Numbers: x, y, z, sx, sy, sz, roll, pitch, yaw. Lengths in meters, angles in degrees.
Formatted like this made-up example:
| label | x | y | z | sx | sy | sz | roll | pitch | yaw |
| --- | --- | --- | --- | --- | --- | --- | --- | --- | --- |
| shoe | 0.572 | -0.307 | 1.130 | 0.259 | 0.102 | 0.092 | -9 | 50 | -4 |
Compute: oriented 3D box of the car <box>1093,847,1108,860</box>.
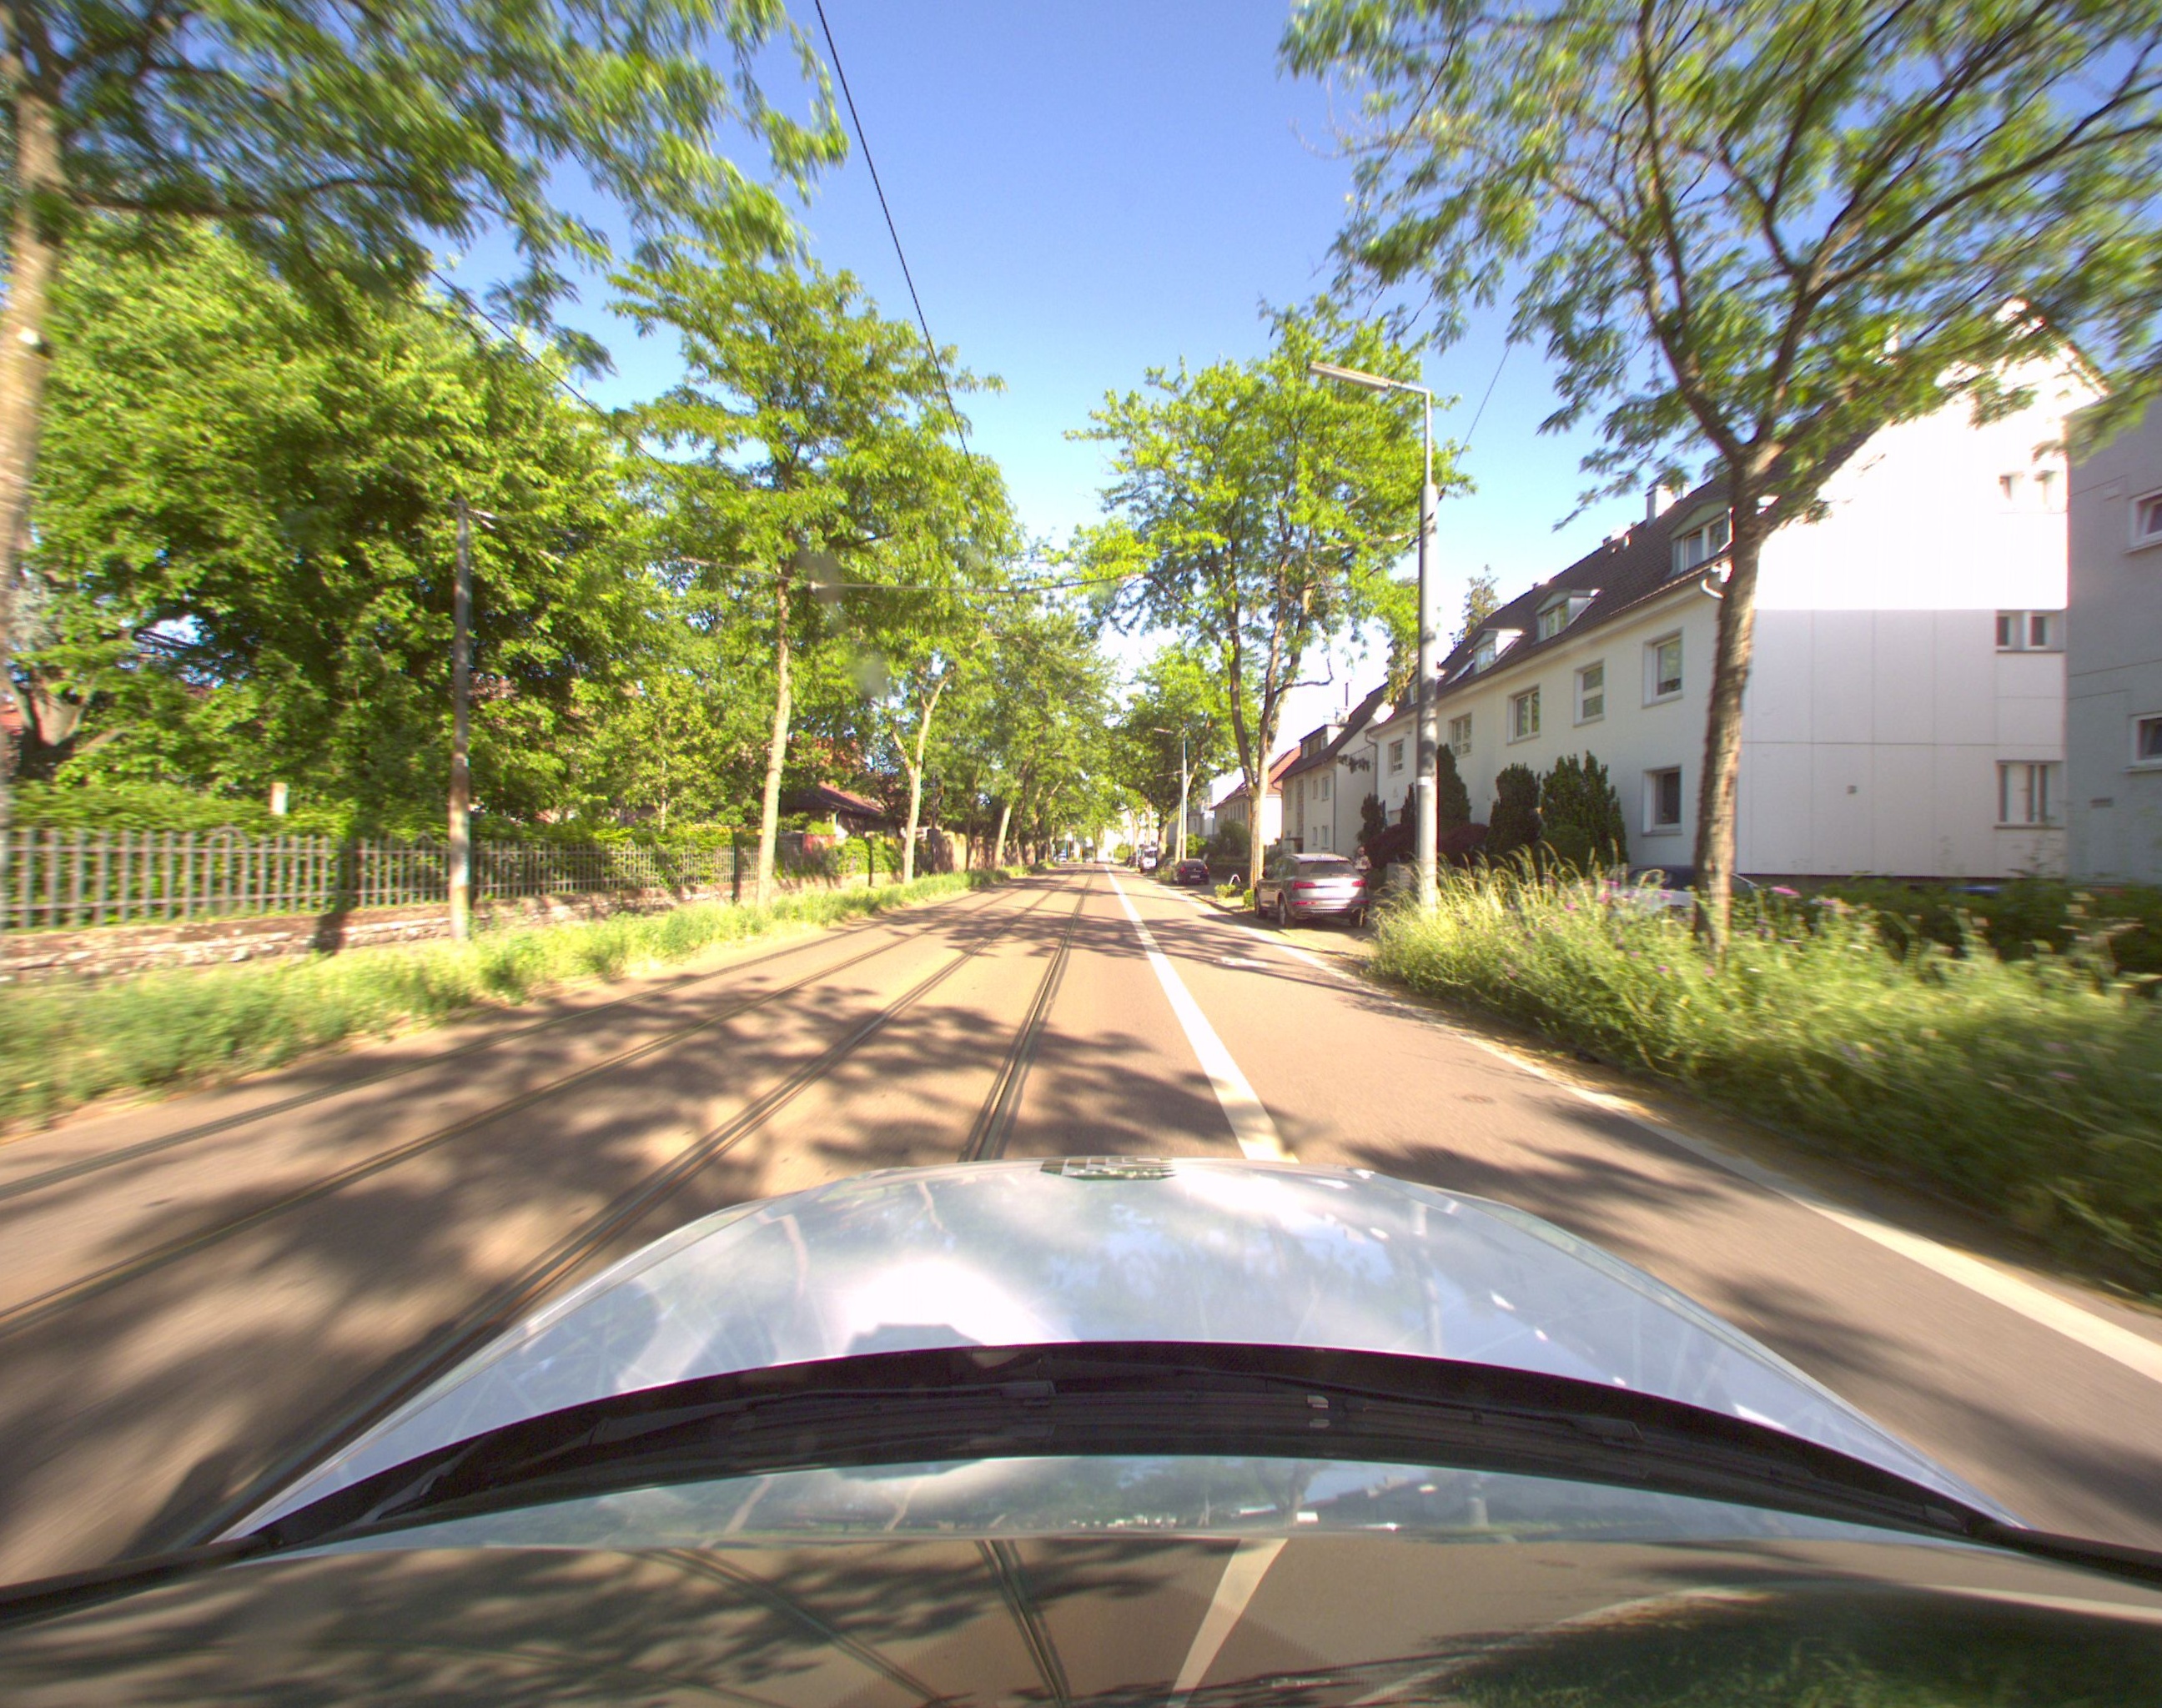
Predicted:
| label | x | y | z | sx | sy | sz | roll | pitch | yaw |
| --- | --- | --- | --- | --- | --- | --- | --- | --- | --- |
| car | 3.896 | -0.059 | 162.800 | 1.995 | 2.458 | 4.491 | 0 | 0 | -12 |

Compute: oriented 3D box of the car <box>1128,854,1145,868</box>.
| label | x | y | z | sx | sy | sz | roll | pitch | yaw |
| --- | --- | --- | --- | --- | --- | --- | --- | --- | --- |
| car | 7.388 | 0.926 | 109.332 | 1.996 | 1.675 | 4.393 | -1 | 0 | 1 |

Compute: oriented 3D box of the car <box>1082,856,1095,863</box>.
| label | x | y | z | sx | sy | sz | roll | pitch | yaw |
| --- | --- | --- | --- | --- | --- | --- | --- | --- | --- |
| car | 1.641 | 1.258 | 180.583 | 2.004 | 1.560 | 4.375 | 0 | 0 | -11 |

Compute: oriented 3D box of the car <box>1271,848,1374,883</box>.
| label | x | y | z | sx | sy | sz | roll | pitch | yaw |
| --- | --- | --- | --- | --- | --- | --- | --- | --- | --- |
| car | 11.590 | 0.528 | 39.300 | 4.402 | 1.489 | 1.860 | -2 | 0 | 3 |

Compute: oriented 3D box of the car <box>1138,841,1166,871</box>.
| label | x | y | z | sx | sy | sz | roll | pitch | yaw |
| --- | --- | --- | --- | --- | --- | --- | --- | --- | --- |
| car | 6.718 | 0.172 | 77.204 | 2.237 | 2.654 | 5.586 | -1 | 0 | 1 |

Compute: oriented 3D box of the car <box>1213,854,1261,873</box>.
| label | x | y | z | sx | sy | sz | roll | pitch | yaw |
| --- | --- | --- | --- | --- | --- | --- | --- | --- | --- |
| car | 12.504 | 0.723 | 65.348 | 3.400 | 1.436 | 1.727 | -1 | 0 | -12 |

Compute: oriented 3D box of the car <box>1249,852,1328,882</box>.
| label | x | y | z | sx | sy | sz | roll | pitch | yaw |
| --- | --- | --- | --- | --- | --- | --- | --- | --- | --- |
| car | 10.962 | 0.648 | 43.206 | 3.732 | 1.489 | 1.737 | -1 | 0 | -5 |

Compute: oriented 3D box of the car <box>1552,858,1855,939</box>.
| label | x | y | z | sx | sy | sz | roll | pitch | yaw |
| --- | --- | --- | --- | --- | --- | --- | --- | --- | --- |
| car | 11.029 | 0.751 | 14.662 | 4.037 | 1.342 | 1.878 | 0 | 0 | 1 |

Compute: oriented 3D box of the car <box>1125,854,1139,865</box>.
| label | x | y | z | sx | sy | sz | roll | pitch | yaw |
| --- | --- | --- | --- | --- | --- | --- | --- | --- | --- |
| car | 8.006 | 0.872 | 126.800 | 1.993 | 1.675 | 4.398 | -1 | 0 | 5 |

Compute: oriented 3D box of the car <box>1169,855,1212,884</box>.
| label | x | y | z | sx | sy | sz | roll | pitch | yaw |
| --- | --- | --- | --- | --- | --- | --- | --- | --- | --- |
| car | 6.134 | 0.836 | 46.028 | 1.778 | 1.448 | 4.300 | -2 | 0 | 0 |

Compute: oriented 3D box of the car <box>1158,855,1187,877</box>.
| label | x | y | z | sx | sy | sz | roll | pitch | yaw |
| --- | --- | --- | --- | --- | --- | --- | --- | --- | --- |
| car | 6.233 | 0.792 | 55.646 | 1.621 | 1.397 | 3.646 | -2 | 0 | 1 |

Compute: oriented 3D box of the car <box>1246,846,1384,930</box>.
| label | x | y | z | sx | sy | sz | roll | pitch | yaw |
| --- | --- | --- | --- | --- | --- | --- | --- | --- | --- |
| car | 5.430 | 0.728 | 19.556 | 1.987 | 1.704 | 4.477 | -2 | 0 | 0 |

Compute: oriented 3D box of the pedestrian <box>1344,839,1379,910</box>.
| label | x | y | z | sx | sy | sz | roll | pitch | yaw |
| --- | --- | --- | --- | --- | --- | --- | --- | --- | --- |
| pedestrian | 7.615 | 0.554 | 22.118 | 0.623 | 1.870 | 0.732 | -2 | 0 | 0 |

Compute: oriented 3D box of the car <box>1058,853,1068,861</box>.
| label | x | y | z | sx | sy | sz | roll | pitch | yaw |
| --- | --- | --- | --- | --- | --- | --- | --- | --- | --- |
| car | -4.053 | 0.716 | 182.268 | 1.864 | 1.675 | 4.162 | 0 | 0 | -7 |
